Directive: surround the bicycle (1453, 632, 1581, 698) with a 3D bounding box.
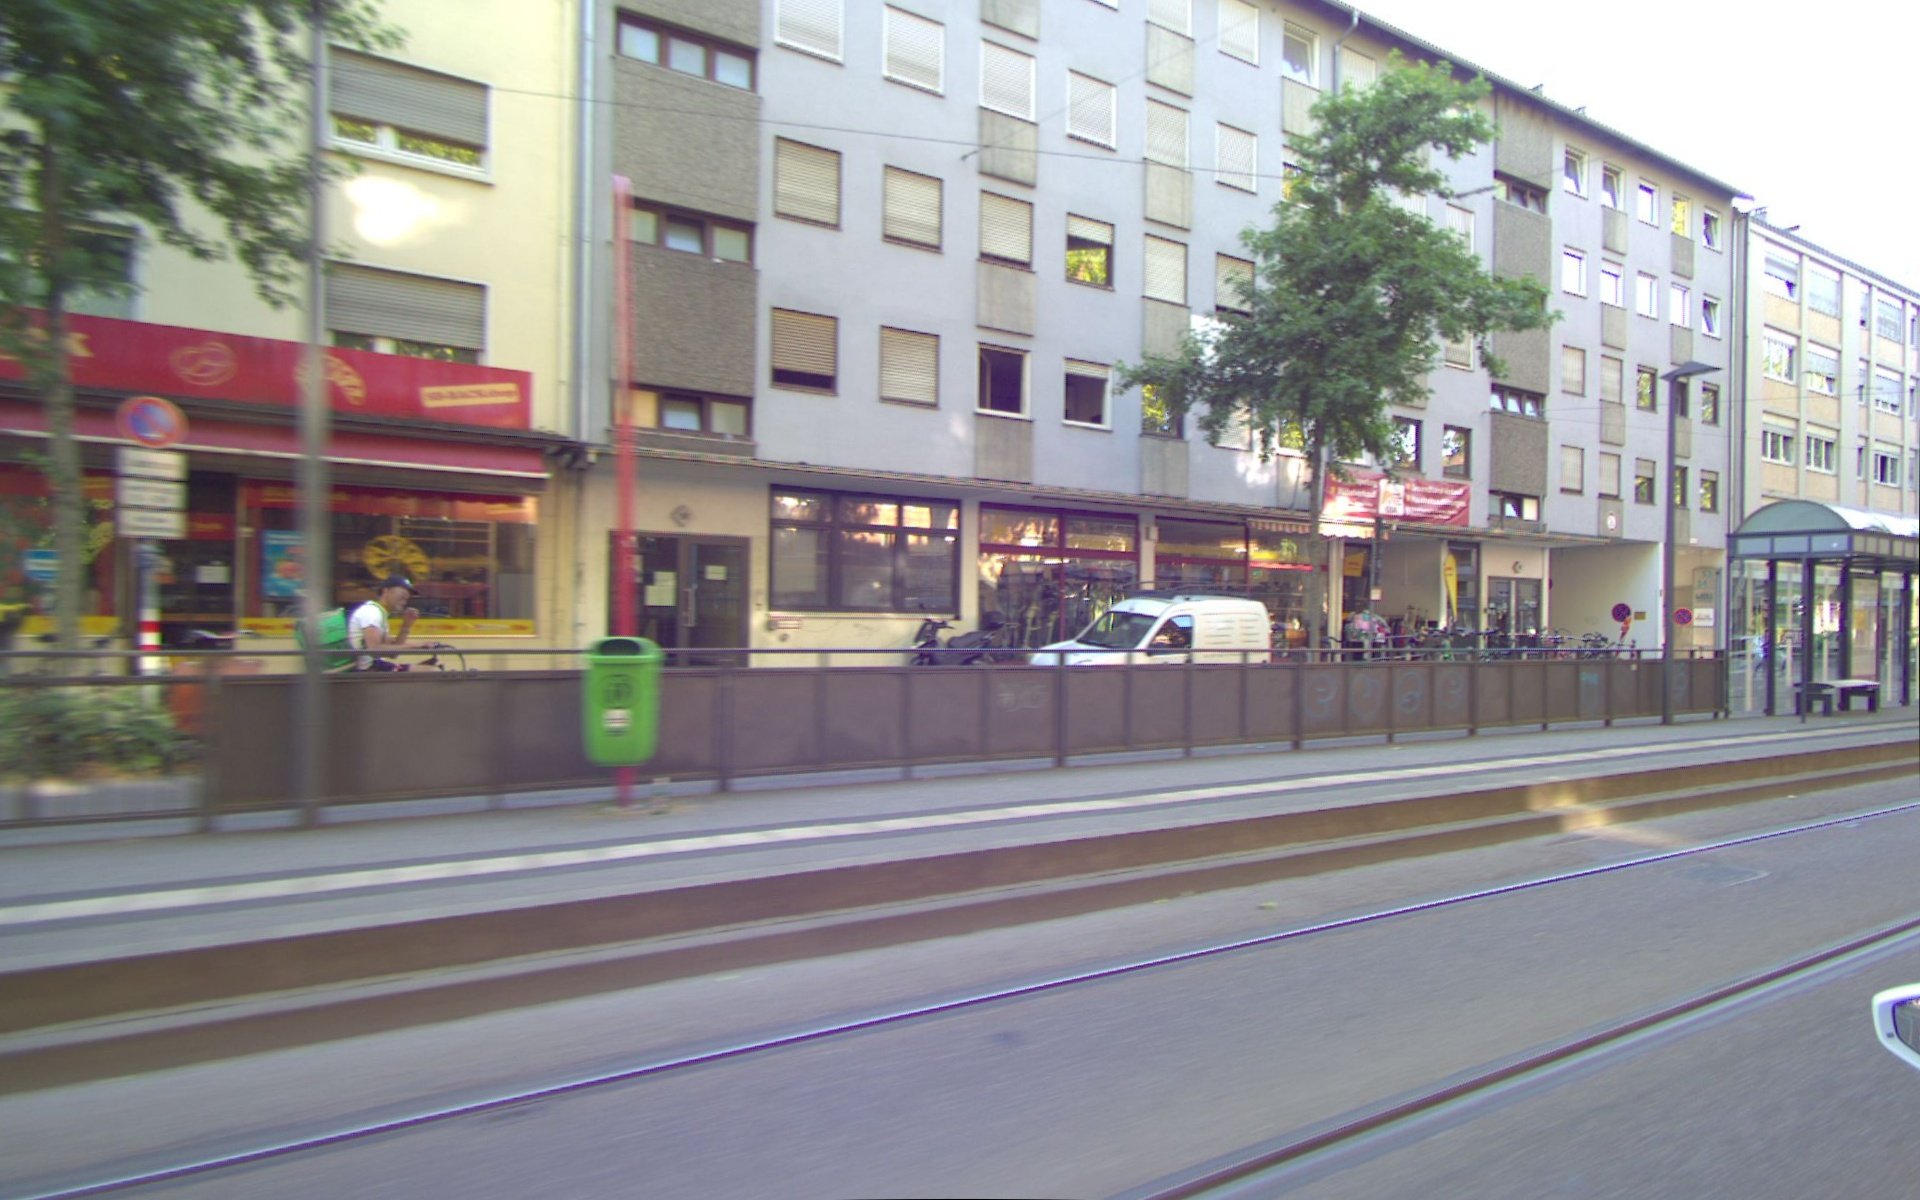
[{"bbox_3d":[11.163,1.274,20.233,0.628,1.088,2.243,1,2,-28],"label":"bicycle"}]

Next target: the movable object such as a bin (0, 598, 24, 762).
[{"bbox_3d":[-8.736,0.694,8.665,0.775,1.366,1.162,1,3,-34],"label":"movable object such as a bin"}]

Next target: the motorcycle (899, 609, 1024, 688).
[{"bbox_3d":[0.041,0.841,17.617,2.196,1.328,0.596,1,-1,-31],"label":"motorcycle"}]

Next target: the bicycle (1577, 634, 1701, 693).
[{"bbox_3d":[15.279,1.402,22.669,0.628,1.088,2.243,1,2,-28],"label":"bicycle"}]

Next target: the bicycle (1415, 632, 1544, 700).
[{"bbox_3d":[10.106,1.253,19.634,0.628,1.088,2.243,1,2,-28],"label":"bicycle"}]

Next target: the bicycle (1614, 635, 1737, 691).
[{"bbox_3d":[16.702,1.441,23.522,0.628,1.088,2.243,1,2,-28],"label":"bicycle"}]

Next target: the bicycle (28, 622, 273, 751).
[{"bbox_3d":[-7.726,0.798,9.692,1.781,1.122,0.495,1,3,-33],"label":"bicycle"}]

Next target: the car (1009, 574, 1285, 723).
[{"bbox_3d":[2.849,0.693,15.070,3.953,1.966,1.680,1,-1,-31],"label":"car"}]

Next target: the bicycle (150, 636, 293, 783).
[{"bbox_3d":[-6.664,0.935,9.143,0.875,1.089,1.526,1,2,-30],"label":"bicycle"}]

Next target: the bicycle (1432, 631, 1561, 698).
[{"bbox_3d":[10.598,1.241,19.931,0.628,1.088,2.243,1,2,-28],"label":"bicycle"}]

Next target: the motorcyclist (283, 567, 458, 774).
[{"bbox_3d":[-4.466,0.523,7.670,1.091,1.468,0.593,1,-3,-30],"label":"motorcyclist"}]

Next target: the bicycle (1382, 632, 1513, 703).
[{"bbox_3d":[9.130,1.237,18.942,0.628,1.088,2.243,1,2,-28],"label":"bicycle"}]

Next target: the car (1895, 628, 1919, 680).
[{"bbox_3d":[31.355,1.736,31.706,3.953,1.569,1.585,1,1,-31],"label":"car"}]

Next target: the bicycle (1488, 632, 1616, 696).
[{"bbox_3d":[12.241,1.303,20.862,0.628,1.088,2.243,1,2,-28],"label":"bicycle"}]

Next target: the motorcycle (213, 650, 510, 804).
[{"bbox_3d":[-4.471,0.911,7.640,1.855,1.046,0.592,1,-3,-30],"label":"motorcycle"}]

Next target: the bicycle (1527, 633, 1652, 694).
[{"bbox_3d":[13.652,1.345,21.874,0.628,1.088,2.243,1,2,-28],"label":"bicycle"}]

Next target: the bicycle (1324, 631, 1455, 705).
[{"bbox_3d":[7.708,1.186,18.151,0.628,1.088,2.243,1,2,-28],"label":"bicycle"}]

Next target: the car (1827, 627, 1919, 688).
[{"bbox_3d":[26.942,1.619,29.053,3.953,1.569,1.585,1,1,-31],"label":"car"}]
